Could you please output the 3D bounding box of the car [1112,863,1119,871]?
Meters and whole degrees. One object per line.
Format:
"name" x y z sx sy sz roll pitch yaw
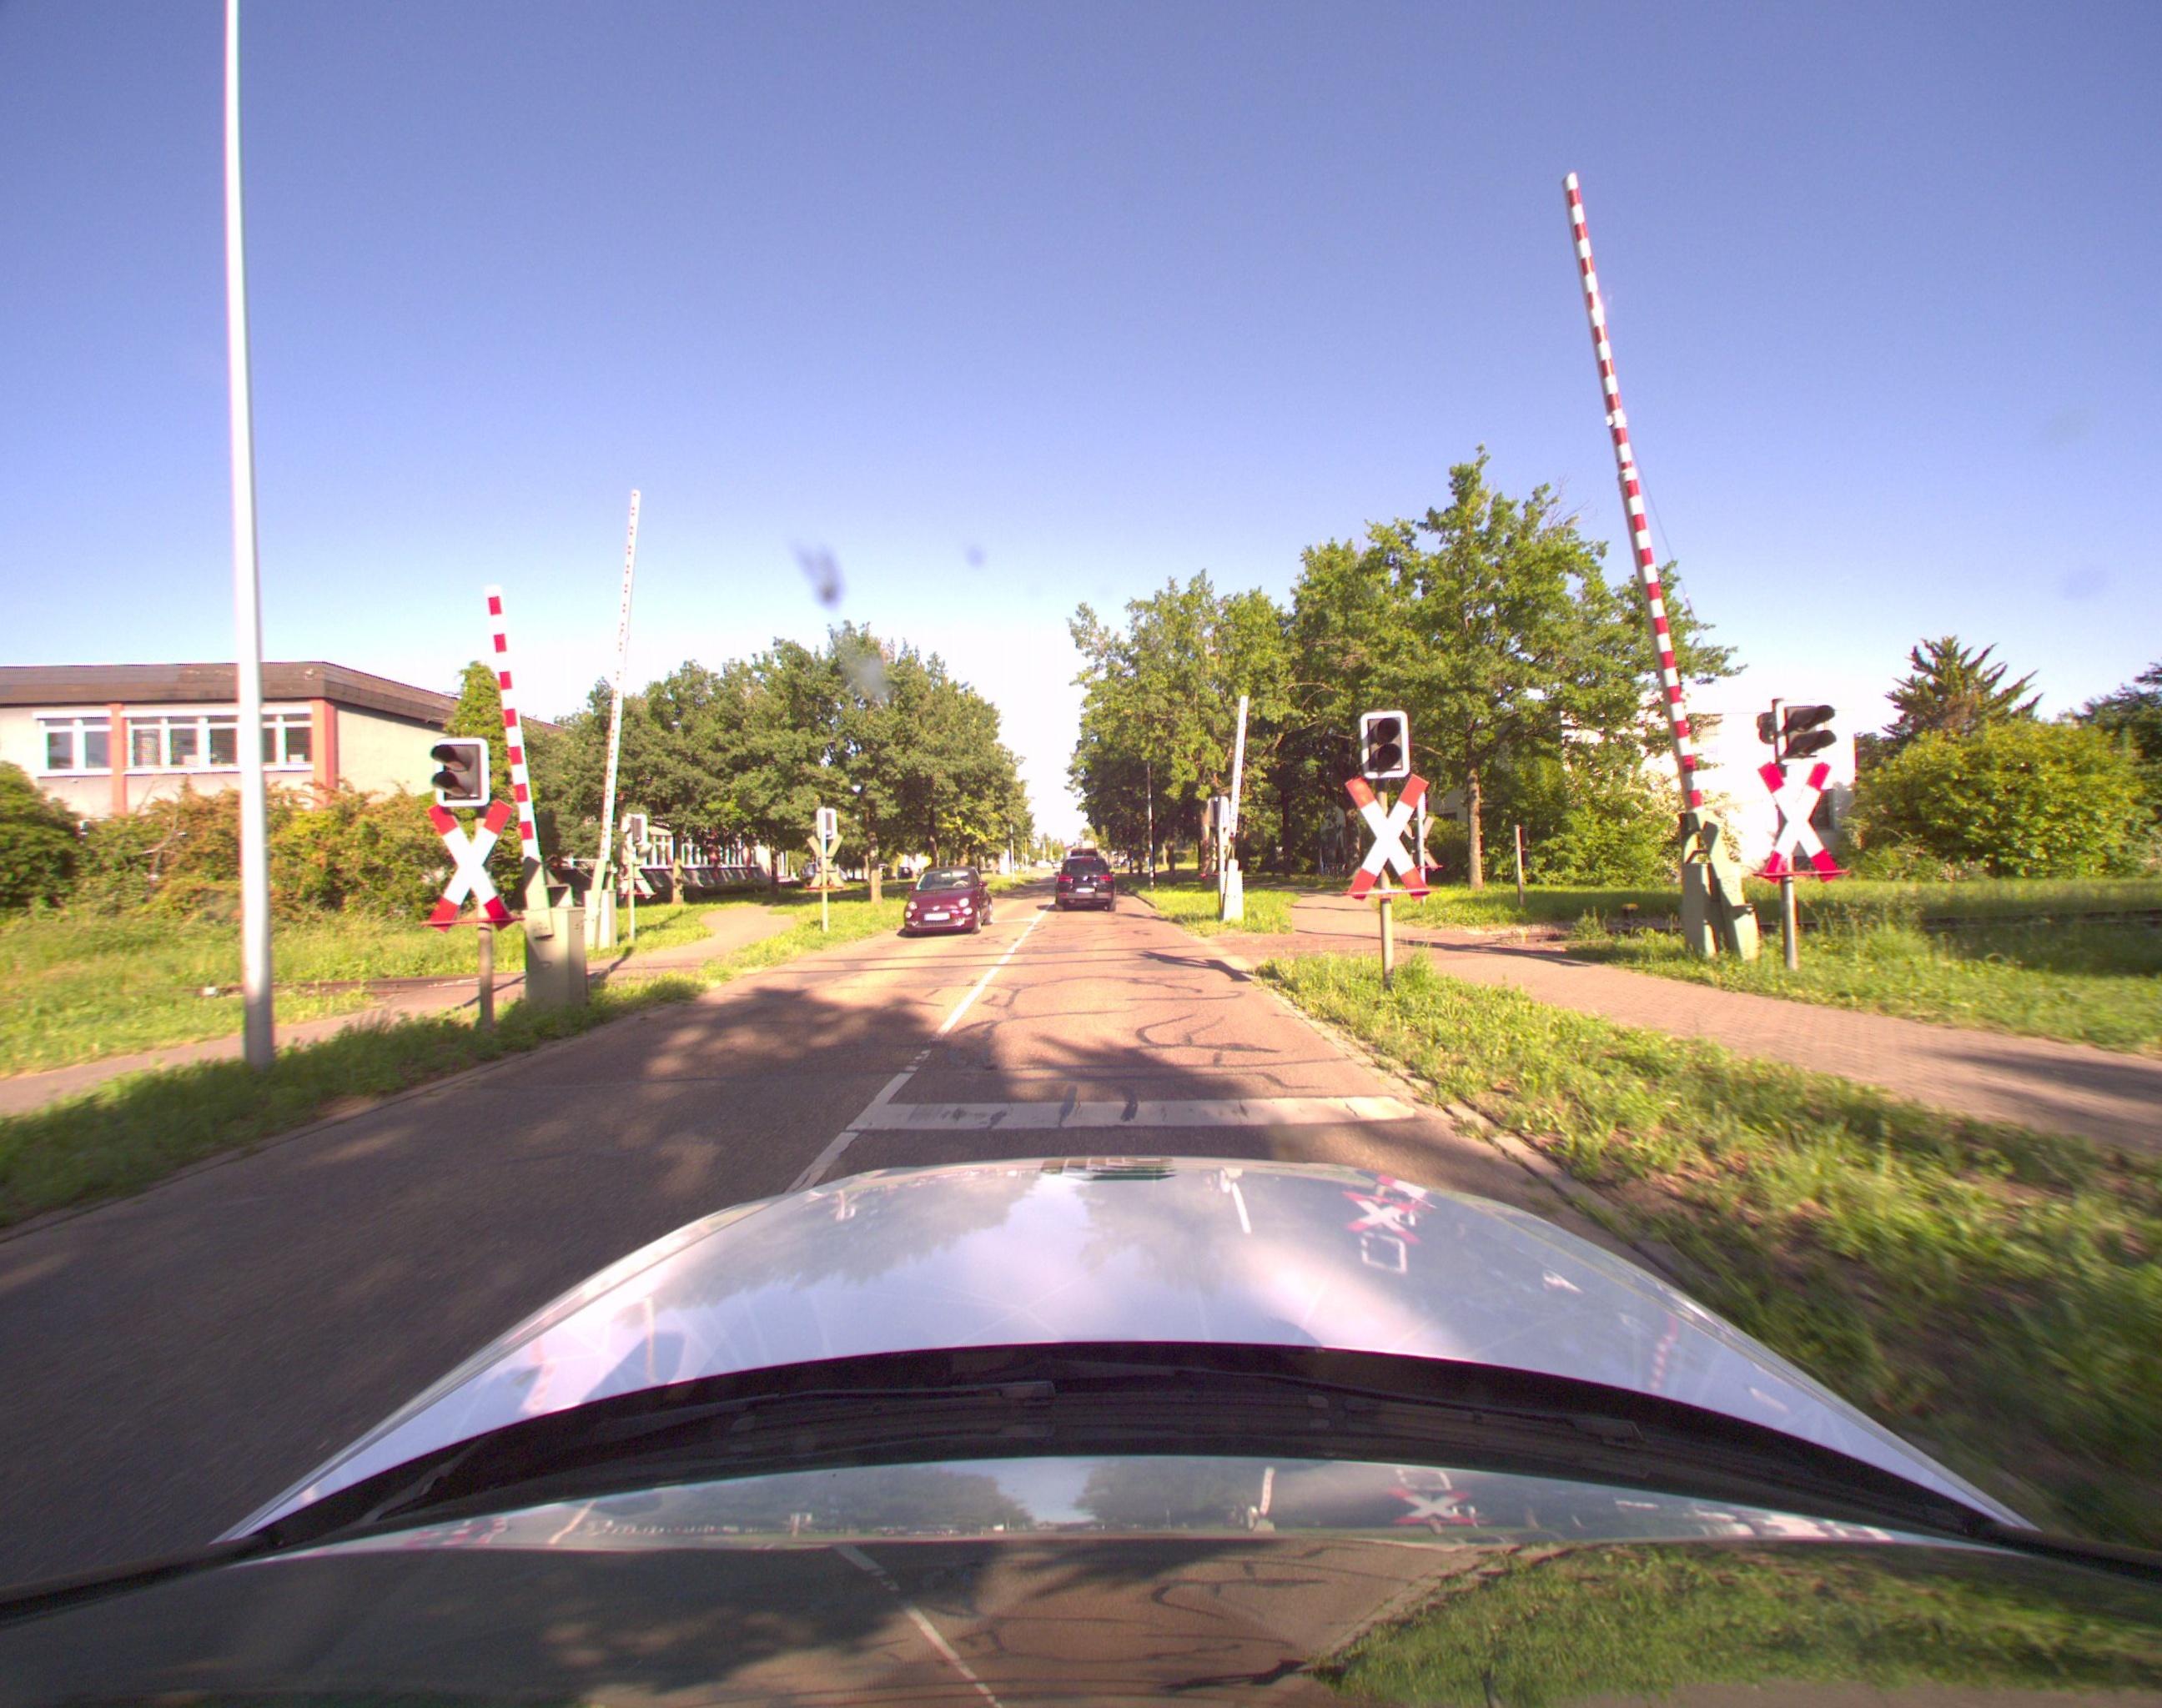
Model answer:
"car" 6.802 2.556 160.179 1.447 1.406 2.856 0 0 1

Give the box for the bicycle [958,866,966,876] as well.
"bicycle" -15.726 2.237 107.614 0.715 1.321 1.991 0 0 0

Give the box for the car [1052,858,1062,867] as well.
"car" -5.387 1.788 179.112 1.990 2.014 3.993 0 0 -5

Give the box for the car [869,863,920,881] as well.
"car" -22.325 2.129 97.759 5.790 2.014 1.993 0 -1 -10

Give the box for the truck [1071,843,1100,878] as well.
"truck" 0.516 0.649 82.269 2.502 3.243 8.157 -2 0 2

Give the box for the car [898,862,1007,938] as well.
"car" -2.891 0.983 19.161 1.558 1.504 4.005 -3 -1 5

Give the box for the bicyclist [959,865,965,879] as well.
"bicyclist" -15.703 2.430 107.526 0.684 1.831 0.934 0 -1 0

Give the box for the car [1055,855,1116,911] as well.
"car" 0.220 0.852 25.737 1.775 1.633 4.003 0 0 3

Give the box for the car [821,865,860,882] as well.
"car" -24.929 2.021 84.374 3.342 1.642 2.003 0 0 5
